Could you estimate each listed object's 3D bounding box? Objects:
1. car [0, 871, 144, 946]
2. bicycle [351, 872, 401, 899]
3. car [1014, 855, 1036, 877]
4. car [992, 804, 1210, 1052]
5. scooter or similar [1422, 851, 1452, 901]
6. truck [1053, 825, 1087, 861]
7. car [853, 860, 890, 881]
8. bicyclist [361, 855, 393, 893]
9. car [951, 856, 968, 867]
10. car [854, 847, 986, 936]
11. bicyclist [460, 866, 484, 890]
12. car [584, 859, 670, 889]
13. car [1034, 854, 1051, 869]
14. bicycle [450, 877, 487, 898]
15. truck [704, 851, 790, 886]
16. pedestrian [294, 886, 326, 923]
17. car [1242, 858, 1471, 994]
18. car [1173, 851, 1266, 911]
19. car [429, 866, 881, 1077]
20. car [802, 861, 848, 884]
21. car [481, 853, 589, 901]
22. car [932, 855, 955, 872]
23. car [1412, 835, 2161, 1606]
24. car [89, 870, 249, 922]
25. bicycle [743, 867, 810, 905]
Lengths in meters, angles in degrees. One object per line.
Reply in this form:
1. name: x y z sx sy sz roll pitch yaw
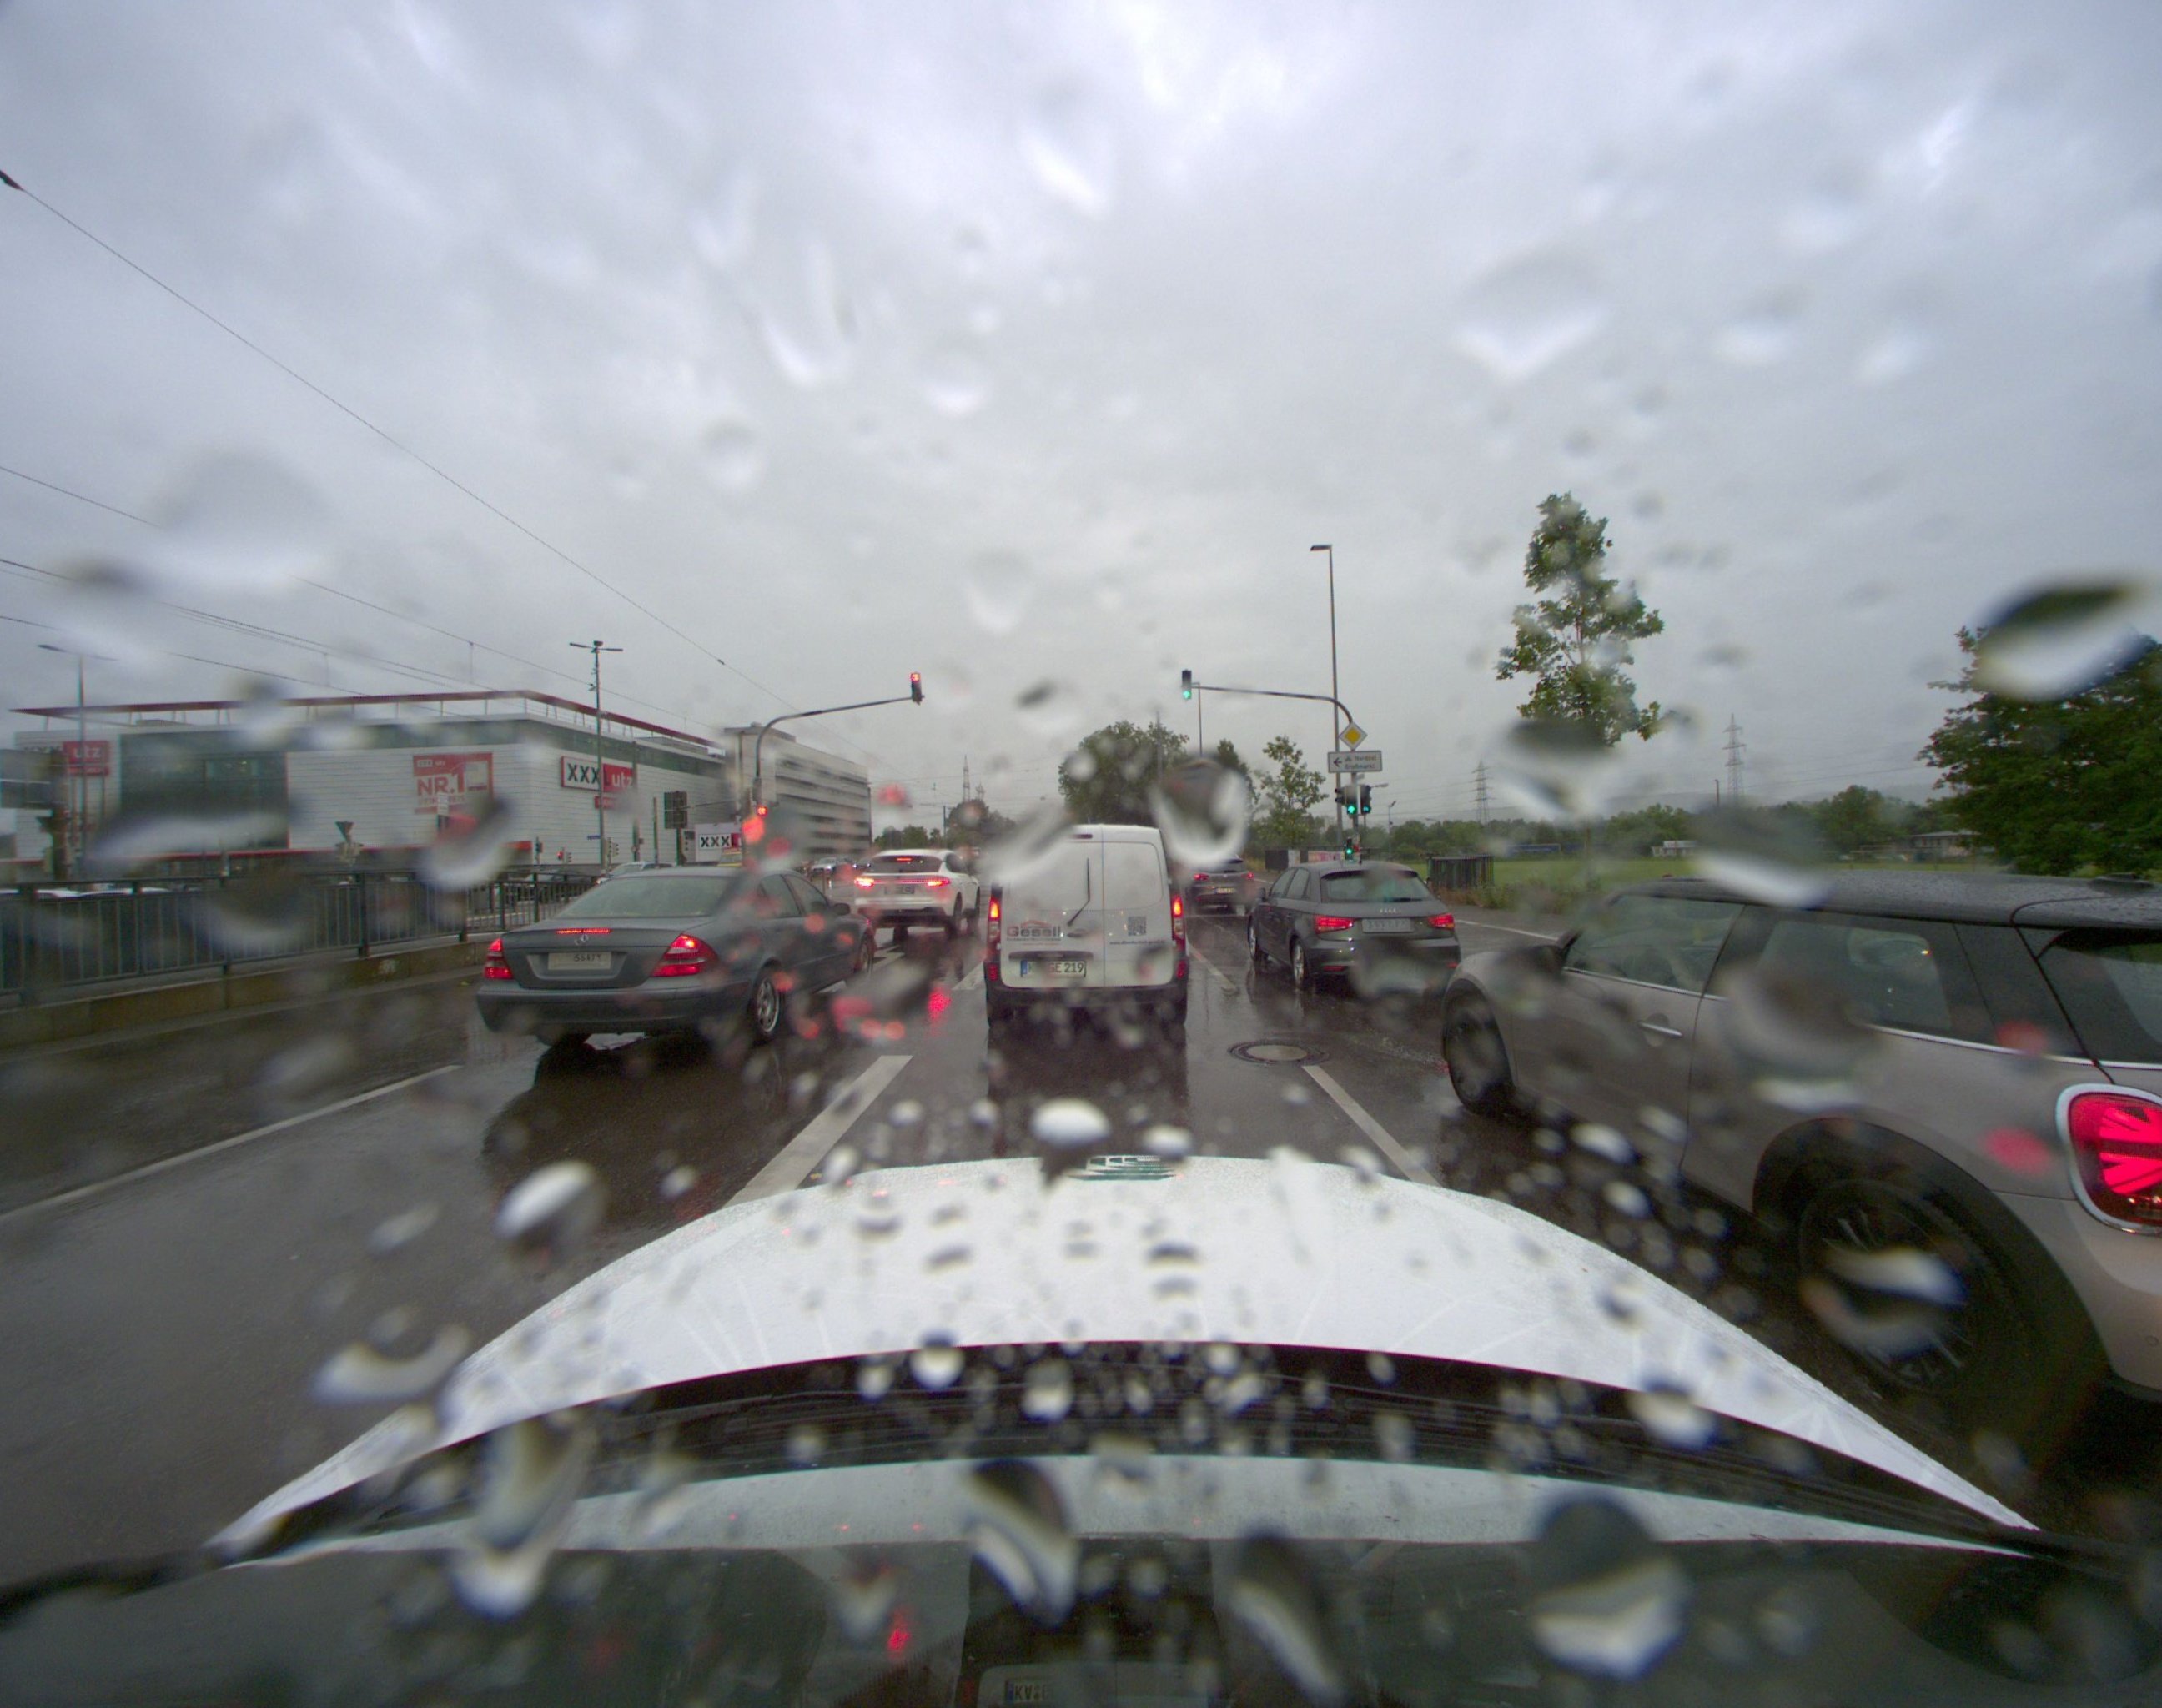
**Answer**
1. car: -22.836 1.134 17.115 1.691 1.492 3.878 0 -1 2
2. bicycle: -27.999 1.234 32.366 0.448 0.987 1.710 0 -1 3
3. car: -5.088 1.078 73.986 1.990 1.860 3.993 0 -1 -5
4. car: 0.210 0.548 7.949 1.560 1.788 4.002 -1 0 2
5. scooter or similar: 8.477 0.513 19.390 0.244 1.158 1.187 0 -1 3
6. truck: -0.910 -0.821 68.043 2.625 2.816 7.142 -1 -1 -1
7. car: -18.867 1.424 73.488 1.919 1.827 4.007 0 -1 6
8. bicyclist: -27.993 0.788 32.388 0.681 1.464 0.647 0 -1 3
9. car: -17.473 1.016 117.165 1.755 1.549 3.683 0 -1 3
10. car: -3.053 0.642 16.335 1.723 1.535 4.298 0 0 1
11. bicyclist: -30.316 1.191 40.552 0.681 1.134 0.647 0 -1 3
12. car: -21.380 0.934 38.521 1.579 1.336 3.837 0 -1 6
13. car: -4.907 0.901 103.893 1.988 1.860 3.998 0 0 -1
14. bicycle: -30.335 1.630 40.350 0.448 0.987 1.710 0 -1 3
15. truck: -23.004 0.962 56.604 2.341 2.279 7.642 0 0 4
16. pedestrian: -33.525 2.193 35.427 0.561 1.537 0.872 0 -1 1
17. car: 3.114 0.733 9.963 1.623 1.344 3.624 0 0 1
18. car: 3.554 0.648 21.514 1.853 1.428 3.808 0 0 1
19. car: -3.437 0.823 7.797 1.755 1.398 4.646 0 -1 2
20. car: -19.648 1.378 62.680 1.883 1.699 4.006 0 -1 6
21. car: -24.939 1.105 37.377 1.984 1.904 4.004 -5 -4 5
22. car: -17.655 1.208 104.513 1.985 2.014 4.004 0 -1 3
23. car: 2.953 0.711 3.413 1.707 1.508 3.624 0 0 1
24. car: -37.180 1.673 33.272 4.298 2.014 2.001 0 -1 1
25. bicycle: -8.902 0.925 23.844 1.745 1.034 0.414 2 -1 0
